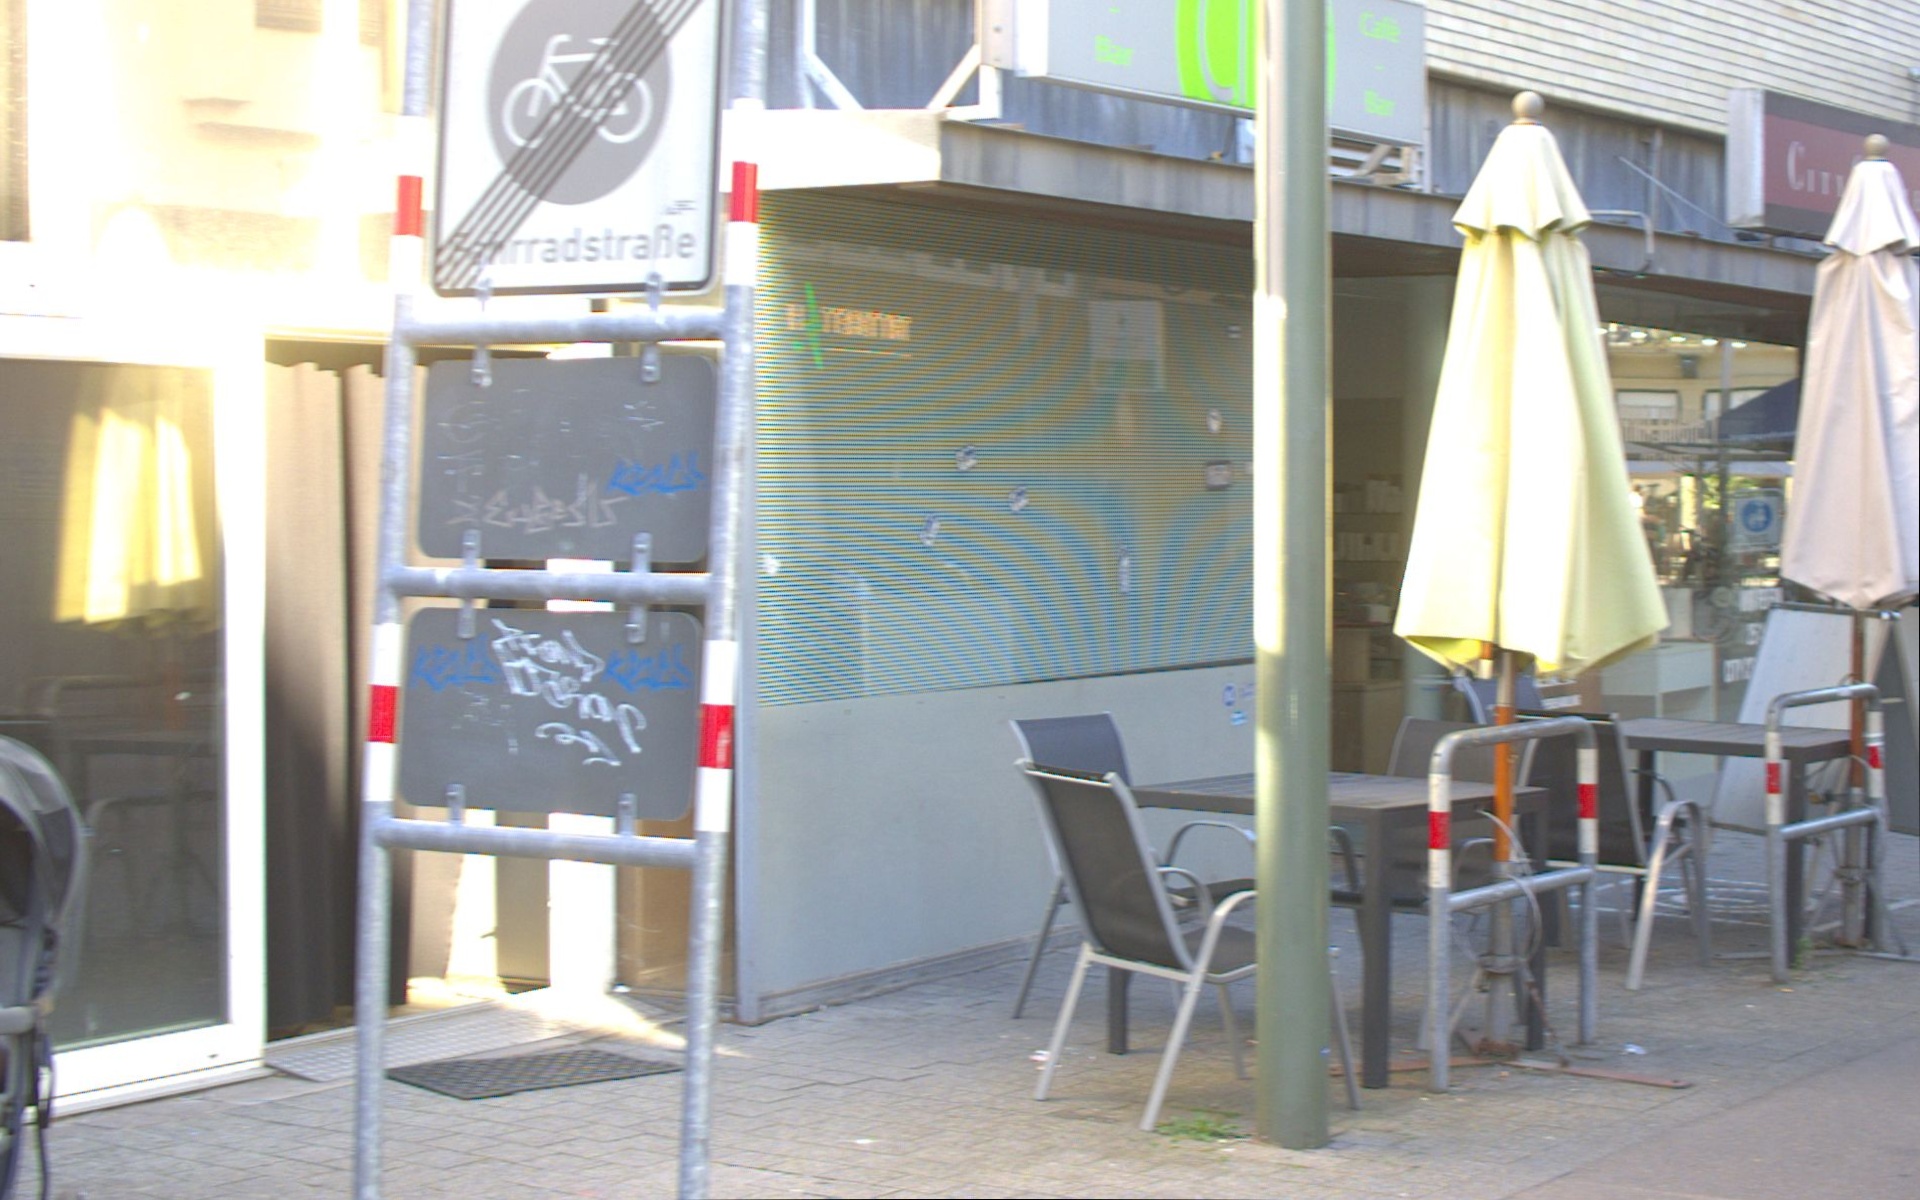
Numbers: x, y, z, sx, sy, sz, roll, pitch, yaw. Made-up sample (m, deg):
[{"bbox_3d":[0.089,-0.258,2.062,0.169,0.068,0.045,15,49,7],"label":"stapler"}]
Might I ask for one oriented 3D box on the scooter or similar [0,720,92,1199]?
[{"bbox_3d":[-1.981,0.829,6.199,0.796,1.140,0.954,0,3,-14],"label":"scooter or similar"}]
